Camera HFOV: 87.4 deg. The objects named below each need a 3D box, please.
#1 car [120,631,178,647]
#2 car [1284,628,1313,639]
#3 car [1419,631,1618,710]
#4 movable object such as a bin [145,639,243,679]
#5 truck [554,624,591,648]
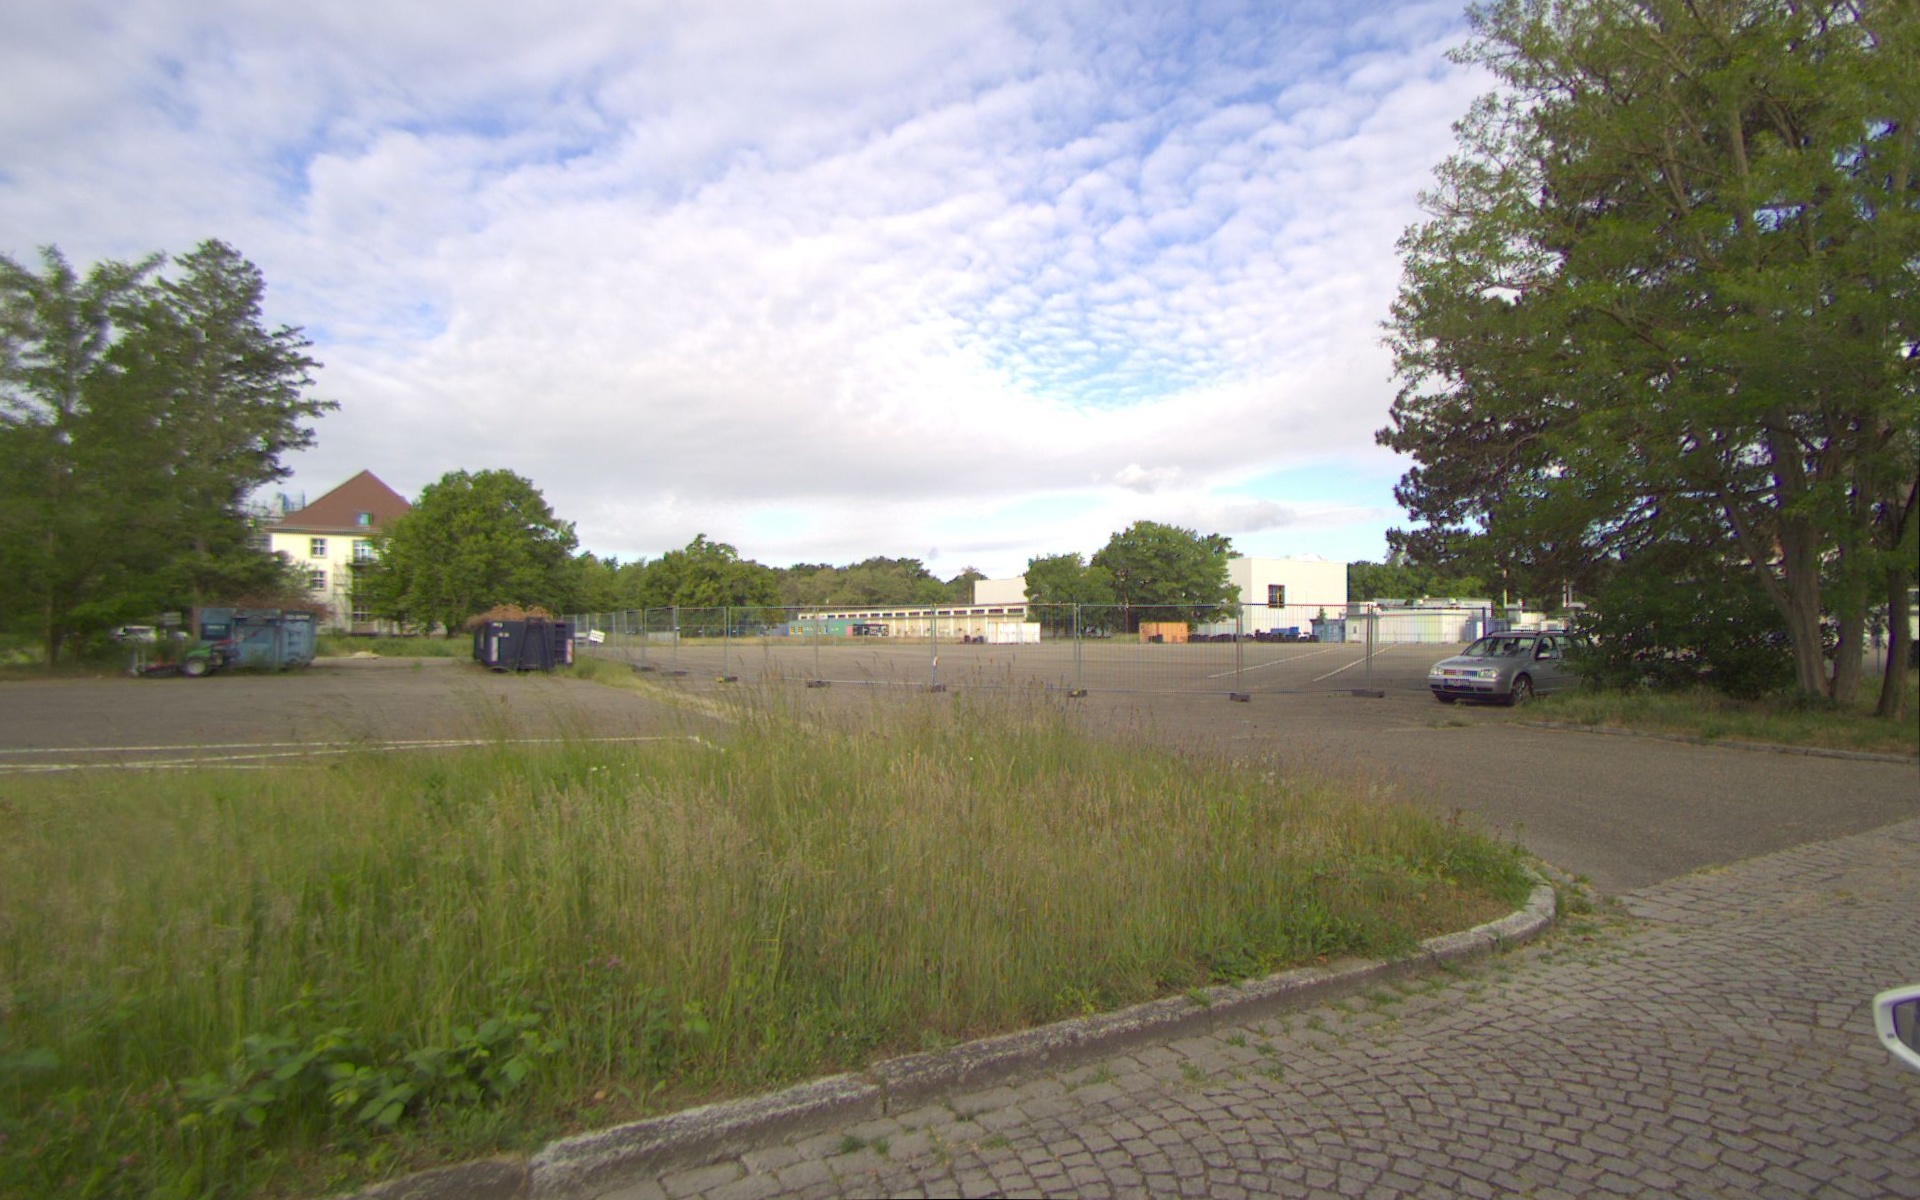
[{"bbox_3d":[-85.665,4.149,106.207,4.534,1.654,1.825,1,-2,-32],"label":"car"},{"bbox_3d":[49.597,4.946,147.064,1.612,1.553,3.946,1,-2,-31],"label":"car"},{"bbox_3d":[11.572,1.384,20.729,4.418,1.457,1.706,1,-2,-32],"label":"car"},{"bbox_3d":[-19.144,1.473,25.165,1.918,0.945,1.031,1,-3,-37],"label":"movable object such as a bin"},{"bbox_3d":[-37.387,3.472,96.784,2.346,2.227,6.504,1,-2,-29],"label":"truck"}]
